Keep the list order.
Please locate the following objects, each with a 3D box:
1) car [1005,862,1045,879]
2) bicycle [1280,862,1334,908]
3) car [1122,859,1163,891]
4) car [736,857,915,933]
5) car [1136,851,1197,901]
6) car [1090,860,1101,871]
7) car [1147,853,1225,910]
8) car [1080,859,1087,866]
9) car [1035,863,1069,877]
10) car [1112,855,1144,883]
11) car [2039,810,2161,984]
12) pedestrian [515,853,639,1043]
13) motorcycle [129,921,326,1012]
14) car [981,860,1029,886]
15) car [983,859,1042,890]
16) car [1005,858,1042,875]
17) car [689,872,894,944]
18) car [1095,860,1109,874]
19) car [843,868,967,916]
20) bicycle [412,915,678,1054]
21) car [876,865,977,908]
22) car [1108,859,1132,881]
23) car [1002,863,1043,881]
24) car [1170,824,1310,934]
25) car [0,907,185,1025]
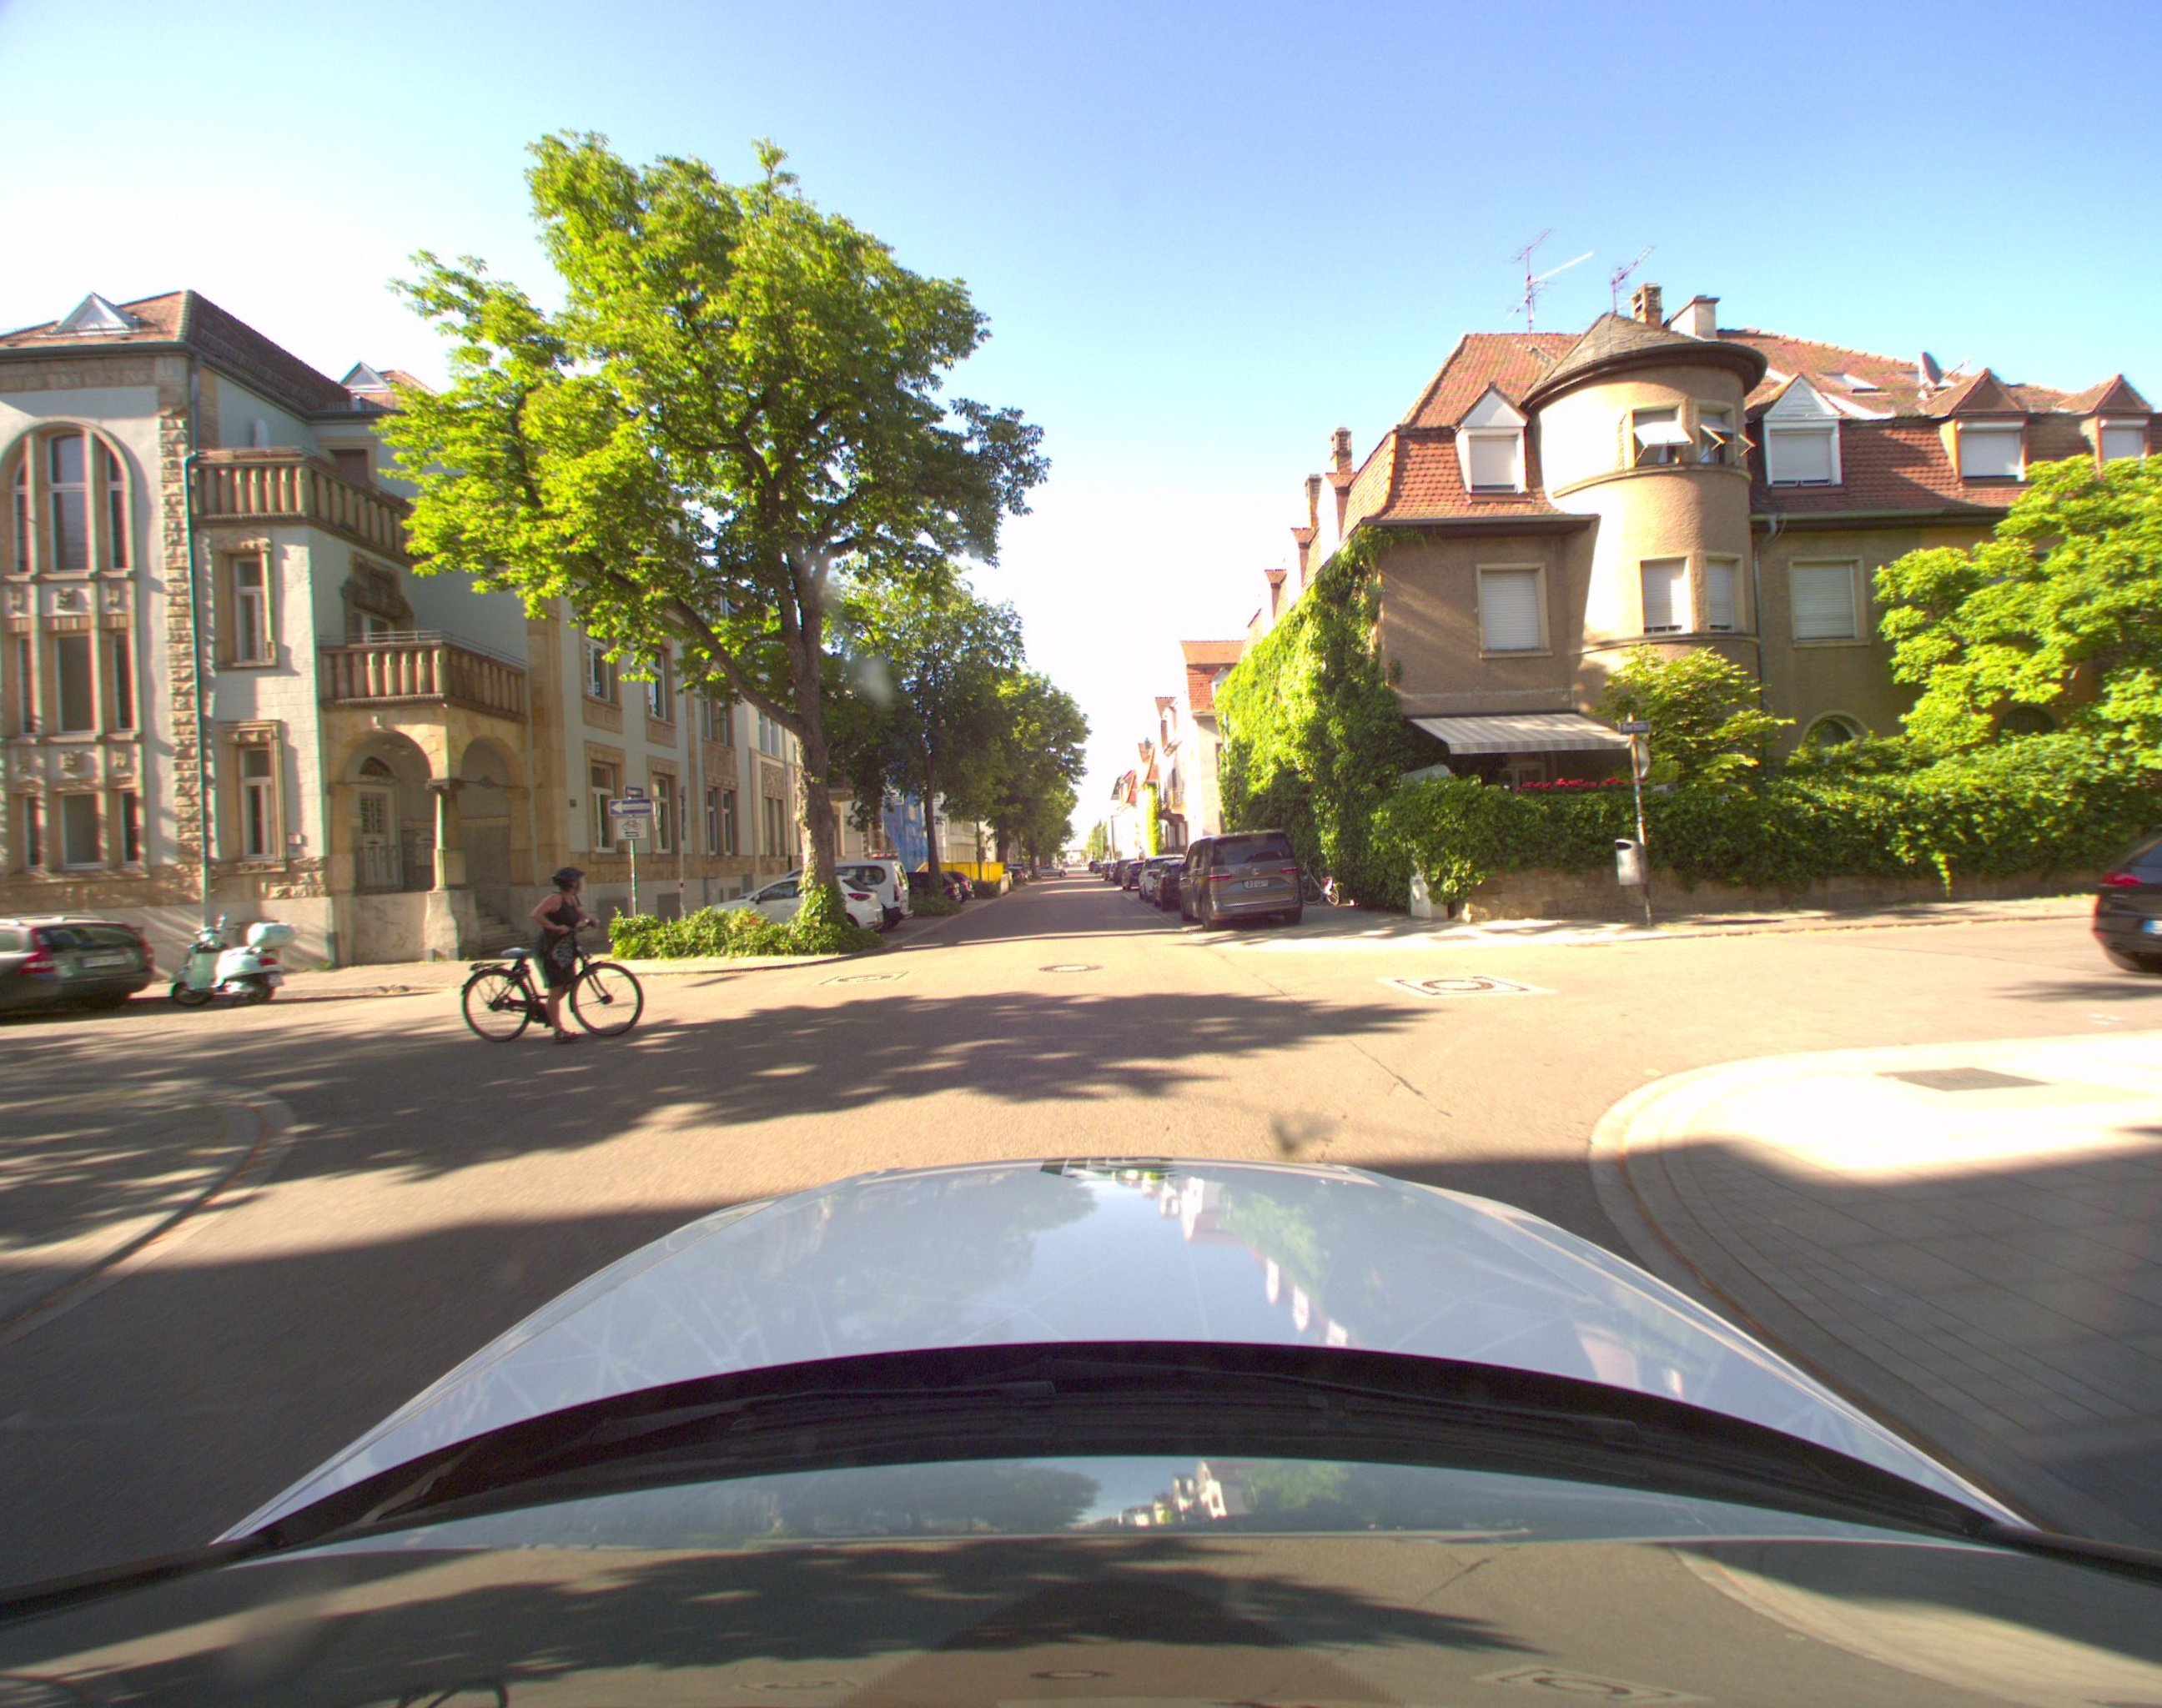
[{"bbox_3d":[-5.843,1.728,85.136,3.991,1.735,1.895,-1,0,1],"label":"car"},{"bbox_3d":[5.501,0.727,19.972,0.586,1.023,2.369,-3,-1,0],"label":"bicycle"},{"bbox_3d":[3.053,1.010,40.948,1.765,1.455,3.866,-3,0,1],"label":"car"},{"bbox_3d":[-6.328,1.000,20.525,3.980,1.761,1.795,-1,-1,-5],"label":"car"},{"bbox_3d":[3.055,0.751,29.696,1.783,1.618,3.866,-3,0,1],"label":"car"},{"bbox_3d":[2.429,1.916,135.280,1.765,1.631,3.866,-3,0,1],"label":"car"},{"bbox_3d":[3.038,0.774,24.334,1.686,1.398,3.804,-6,0,-1],"label":"car"},{"bbox_3d":[0.579,2.135,206.130,1.765,1.631,3.866,-3,0,1],"label":"car"},{"bbox_3d":[-3.484,1.924,97.605,3.984,1.409,1.697,-3,0,-8],"label":"car"},{"bbox_3d":[2.985,0.954,52.265,1.765,1.631,3.866,-3,0,1],"label":"car"},{"bbox_3d":[11.172,0.296,7.018,3.978,1.446,1.754,-3,2,-3],"label":"car"},{"bbox_3d":[-4.795,0.864,7.782,0.628,1.694,0.653,-5,0,3],"label":"pedestrian"},{"bbox_3d":[-12.772,1.667,12.222,2.199,1.176,0.900,-3,-3,8],"label":"motorcycle"},{"bbox_3d":[-6.683,1.657,71.428,3.986,2.014,1.994,-3,-1,-9],"label":"car"},{"bbox_3d":[-4.963,1.476,58.562,3.986,2.014,1.994,-3,-1,-9],"label":"car"},{"bbox_3d":[-6.473,1.369,91.840,3.991,1.841,2.001,-1,0,1],"label":"car"},{"bbox_3d":[-6.376,1.167,18.322,3.980,1.464,1.795,-1,-2,-5],"label":"car"},{"bbox_3d":[2.712,1.691,106.665,1.765,1.631,3.866,-3,-1,1],"label":"car"},{"bbox_3d":[-6.296,1.346,29.427,3.973,1.469,1.864,-3,0,1],"label":"car"},{"bbox_3d":[-5.075,1.223,7.799,1.982,1.066,0.760,-4,0,3],"label":"bicycle"},{"bbox_3d":[-6.452,1.339,34.322,3.986,1.552,1.832,-3,0,-9],"label":"car"},{"bbox_3d":[3.062,1.225,64.579,1.765,1.631,3.866,-3,0,1],"label":"car"},{"bbox_3d":[-5.917,1.770,82.675,3.991,1.735,1.895,-1,0,1],"label":"car"},{"bbox_3d":[3.209,0.484,17.495,1.899,1.870,4.671,-6,0,-1],"label":"car"},{"bbox_3d":[-16.339,1.675,11.915,4.392,1.465,1.802,-3,-1,0],"label":"car"}]
